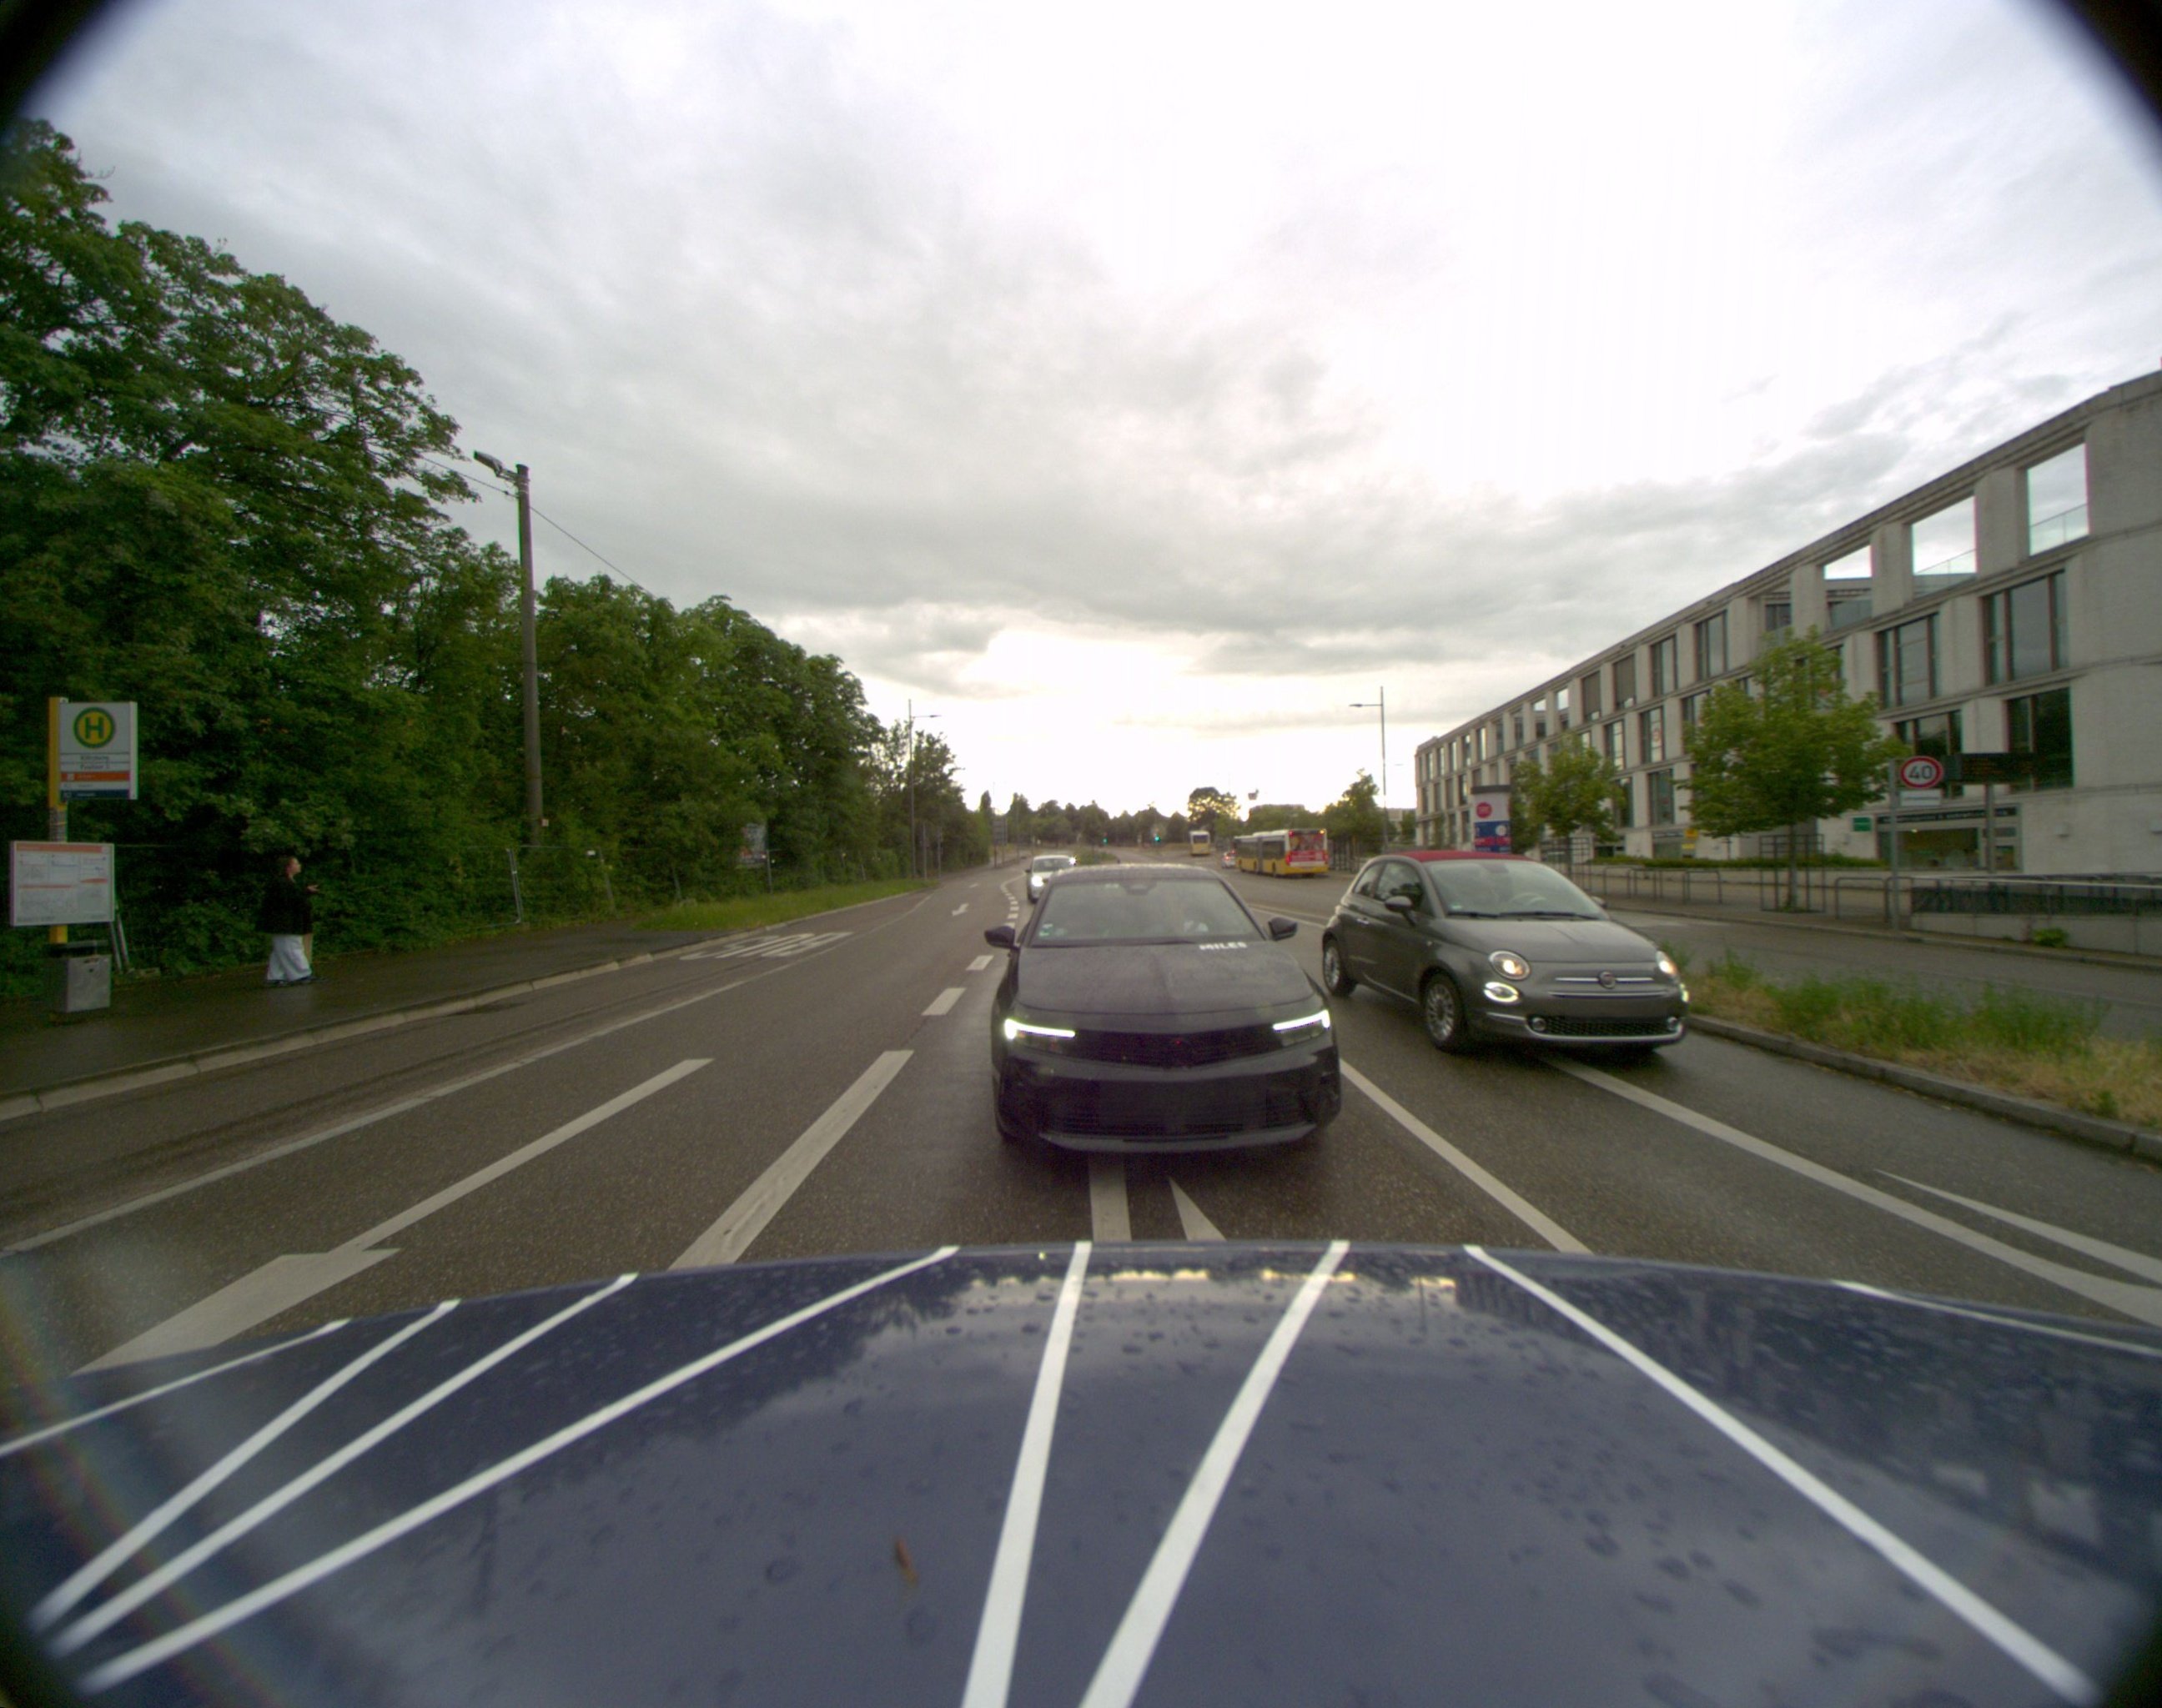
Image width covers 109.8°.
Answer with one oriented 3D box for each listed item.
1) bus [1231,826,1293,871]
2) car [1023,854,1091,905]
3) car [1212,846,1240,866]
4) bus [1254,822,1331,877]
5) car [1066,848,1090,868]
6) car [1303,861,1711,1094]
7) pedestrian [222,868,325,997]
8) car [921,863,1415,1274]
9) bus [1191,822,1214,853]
[{"bbox_3d":[14.114,-0.451,60.042,2.693,3.163,9.912,-2,1,2],"label":"bus"},{"bbox_3d":[-0.943,0.800,26.612,1.902,1.524,4.764,-2,1,-7],"label":"car"},{"bbox_3d":[13.580,0.161,71.436,1.867,1.777,3.999,-2,1,1],"label":"car"},{"bbox_3d":[13.822,-0.312,50.537,2.759,3.194,9.207,-2,1,2],"label":"bus"},{"bbox_3d":[-0.278,0.357,66.033,1.934,1.649,4.617,-1,0,-2],"label":"car"},{"bbox_3d":[3.376,0.840,6.844,1.631,1.473,3.505,-1,1,-2],"label":"car"},{"bbox_3d":[-10.607,1.009,10.002,0.588,1.618,0.661,-1,1,1],"label":"pedestrian"},{"bbox_3d":[0.377,0.884,5.388,1.901,1.456,4.767,-2,1,1],"label":"car"},{"bbox_3d":[18.441,-2.427,114.240,2.757,4.129,19.359,-2,1,11],"label":"bus"}]
